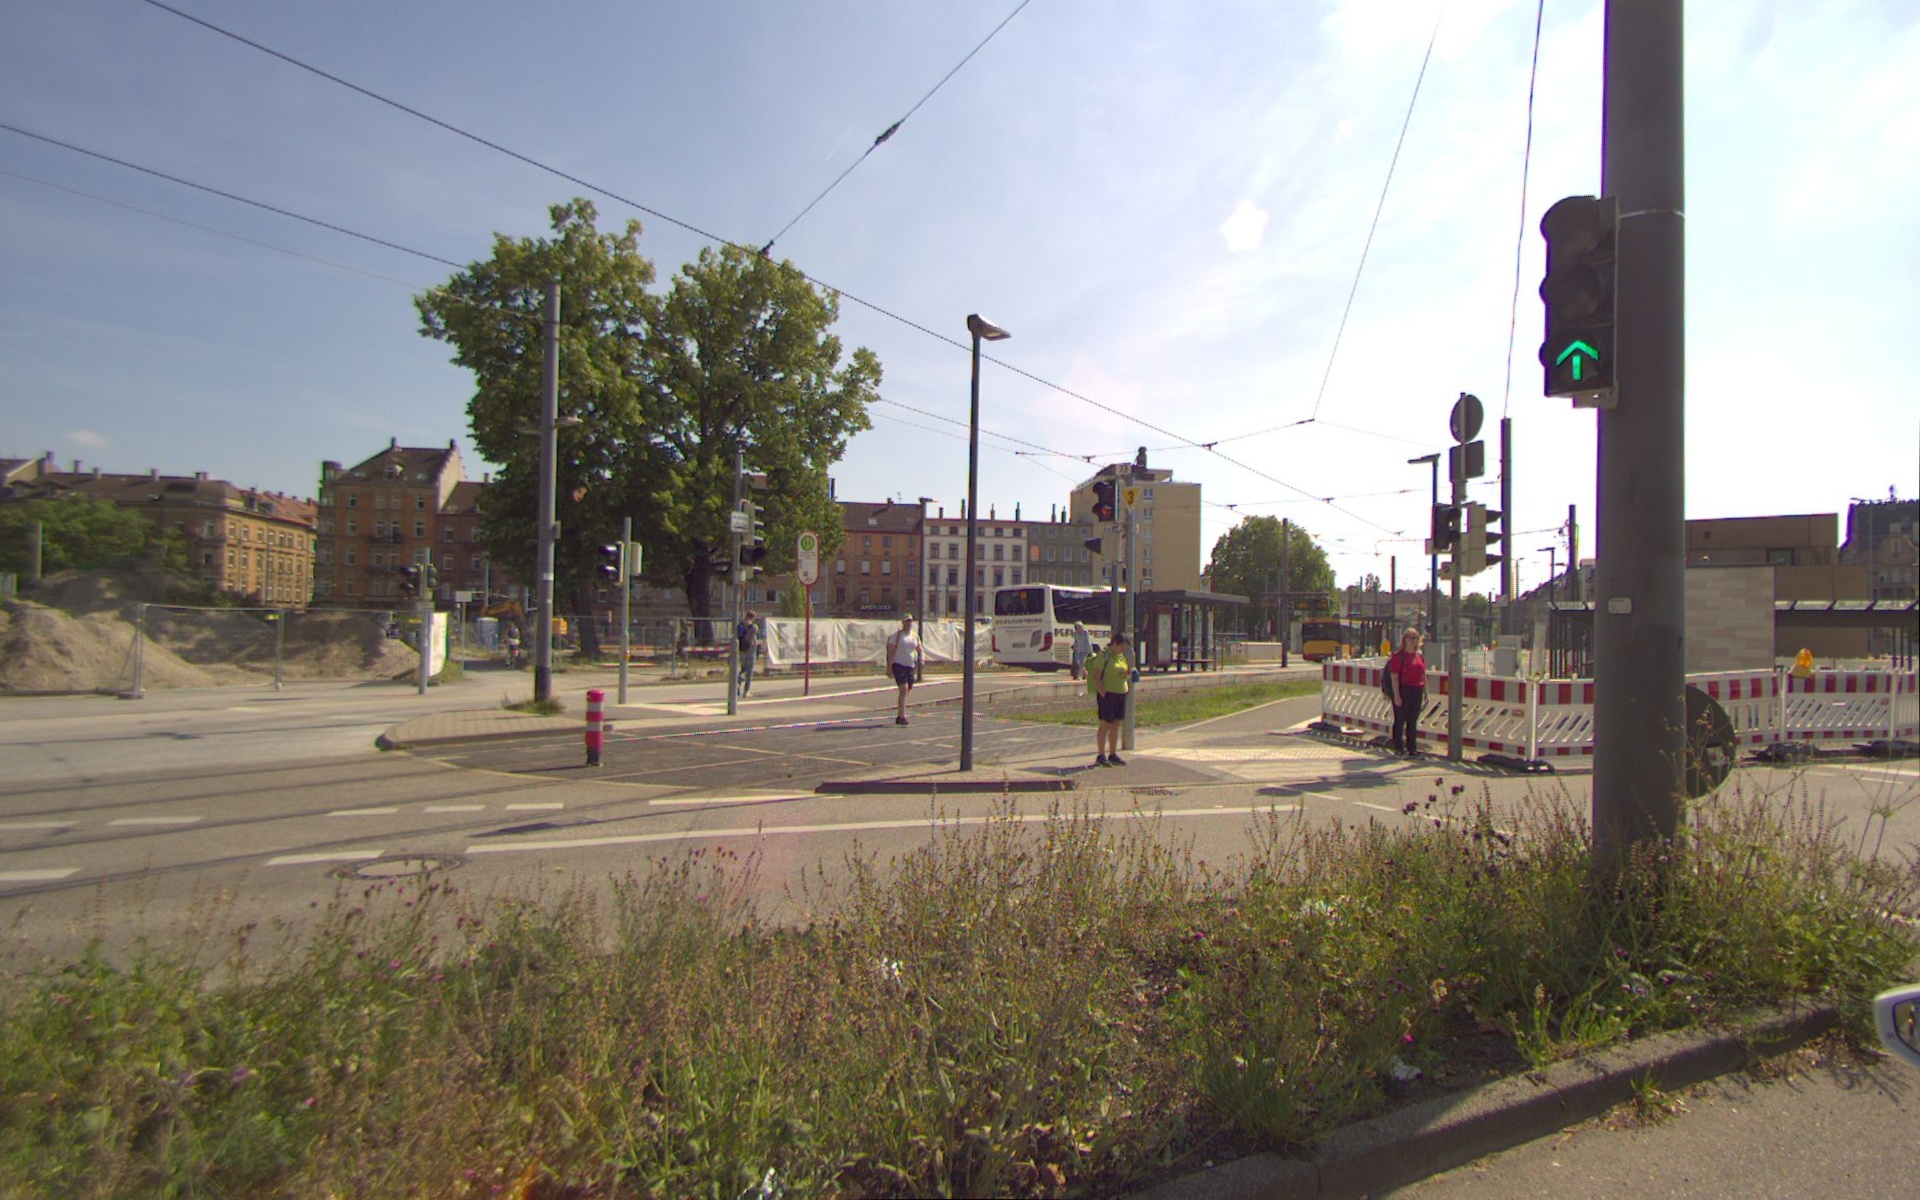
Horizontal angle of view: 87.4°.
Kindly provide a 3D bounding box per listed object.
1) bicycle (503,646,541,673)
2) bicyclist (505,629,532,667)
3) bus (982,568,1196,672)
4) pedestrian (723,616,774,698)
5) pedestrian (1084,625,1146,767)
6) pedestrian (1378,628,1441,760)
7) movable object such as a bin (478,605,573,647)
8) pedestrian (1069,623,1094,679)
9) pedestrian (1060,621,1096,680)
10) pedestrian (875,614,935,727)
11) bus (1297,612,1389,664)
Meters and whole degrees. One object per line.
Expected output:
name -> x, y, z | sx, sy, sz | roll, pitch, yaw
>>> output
bicycle -> -16.183, 2.186, 37.061 | 0.756, 0.935, 2.047 | 2, -3, -39
bicyclist -> -16.427, 1.768, 37.355 | 0.614, 1.378, 1.160 | 2, -3, -39
bus -> 5.642, 0.936, 40.293 | 2.816, 3.535, 12.615 | -1, -3, 36
pedestrian -> -4.609, 1.221, 21.912 | 0.550, 1.735, 0.931 | -1, -1, 42
pedestrian -> 1.783, 1.088, 11.572 | 0.654, 1.564, 0.423 | 2, 1, 8
pedestrian -> 5.691, 1.176, 12.724 | 0.675, 1.637, 0.349 | 1, -2, -18
movable object such as a bin -> -33.009, 2.009, 76.538 | 6.462, 3.048, 2.569 | 2, -2, -24
pedestrian -> 3.600, 1.513, 29.824 | 0.675, 1.637, 0.586 | 0, -1, 13
pedestrian -> 3.366, 1.432, 28.563 | 0.782, 1.637, 0.659 | -1, -1, 39
pedestrian -> -0.933, 1.161, 16.847 | 0.829, 1.836, 0.646 | 1, -1, -23
bus -> 26.816, 2.688, 69.820 | 2.816, 3.324, 12.615 | -1, -3, 36
